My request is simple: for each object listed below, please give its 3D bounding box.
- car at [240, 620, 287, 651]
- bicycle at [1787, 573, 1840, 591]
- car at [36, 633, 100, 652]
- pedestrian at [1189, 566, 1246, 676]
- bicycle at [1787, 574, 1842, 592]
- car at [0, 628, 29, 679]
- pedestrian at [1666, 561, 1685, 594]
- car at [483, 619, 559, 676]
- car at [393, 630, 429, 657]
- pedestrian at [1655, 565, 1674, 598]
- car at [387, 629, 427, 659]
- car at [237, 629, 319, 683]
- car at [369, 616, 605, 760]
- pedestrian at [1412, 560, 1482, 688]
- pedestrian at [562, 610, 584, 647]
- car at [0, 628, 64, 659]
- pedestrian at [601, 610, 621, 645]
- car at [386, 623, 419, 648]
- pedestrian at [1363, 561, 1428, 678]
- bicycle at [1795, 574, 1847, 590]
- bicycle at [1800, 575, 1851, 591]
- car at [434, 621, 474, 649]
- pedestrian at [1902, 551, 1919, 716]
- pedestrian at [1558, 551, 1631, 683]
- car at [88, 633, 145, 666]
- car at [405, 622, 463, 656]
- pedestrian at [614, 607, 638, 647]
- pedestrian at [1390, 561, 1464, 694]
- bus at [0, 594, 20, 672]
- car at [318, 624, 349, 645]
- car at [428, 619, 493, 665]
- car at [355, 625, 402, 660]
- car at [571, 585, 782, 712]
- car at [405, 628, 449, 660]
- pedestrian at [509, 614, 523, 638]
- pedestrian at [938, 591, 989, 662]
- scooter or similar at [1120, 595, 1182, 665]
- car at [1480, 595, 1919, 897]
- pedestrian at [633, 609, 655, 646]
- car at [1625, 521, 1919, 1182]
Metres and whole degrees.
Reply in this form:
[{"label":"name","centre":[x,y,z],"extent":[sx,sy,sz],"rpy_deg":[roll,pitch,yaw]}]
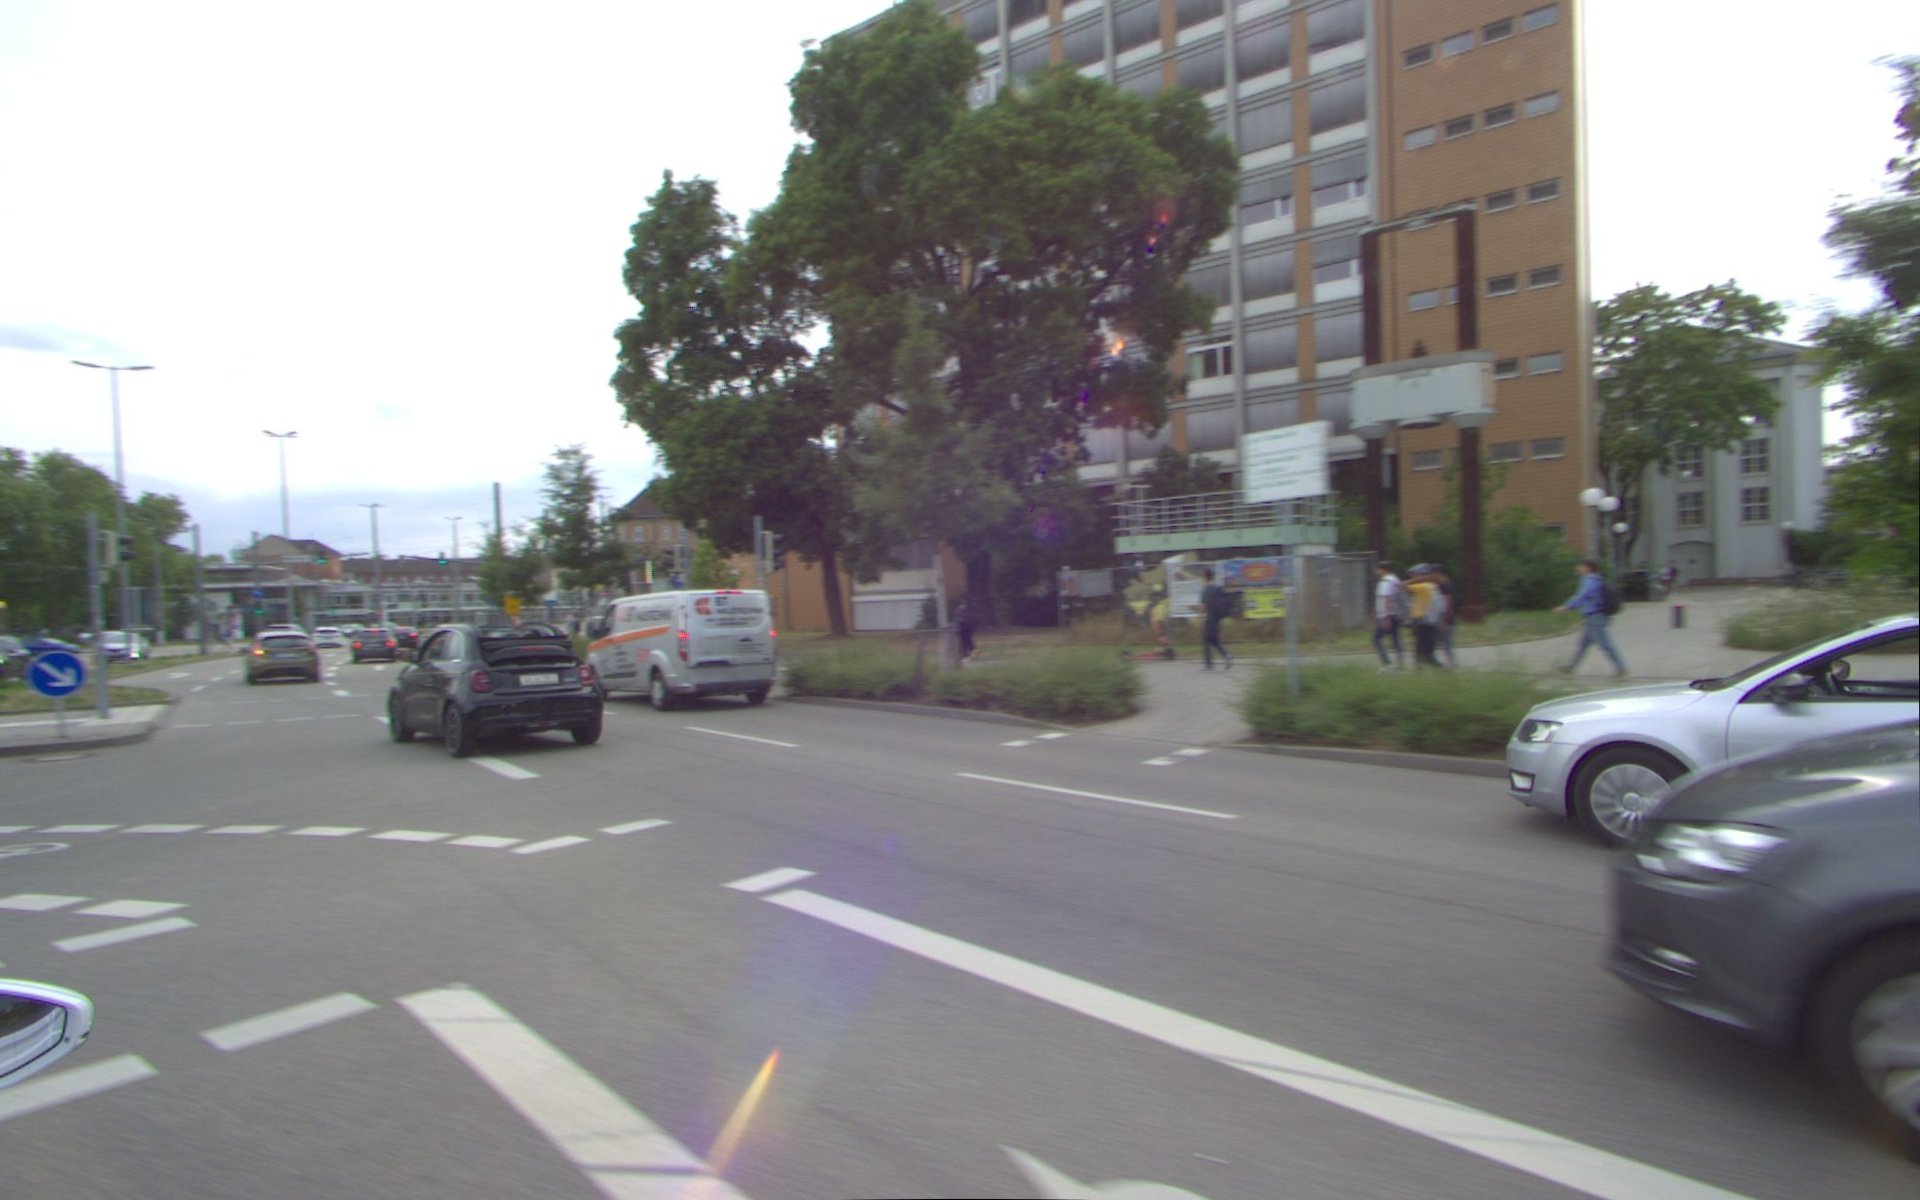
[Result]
[{"label":"car","centre":[-39.118,1.998,56.332],"extent":[1.814,1.635,3.530],"rpy_deg":[0,-2,-29]},{"label":"bicycle","centre":[39.773,-0.837,46.686],"extent":[0.645,0.703,1.829],"rpy_deg":[0,-2,-42]},{"label":"car","centre":[-64.996,3.092,73.004],"extent":[1.386,1.242,3.257],"rpy_deg":[-1,0,39]},{"label":"pedestrian","centre":[4.519,0.365,17.593],"extent":[0.700,1.877,0.634],"rpy_deg":[-2,1,43]},{"label":"bicycle","centre":[38.848,-0.752,45.554],"extent":[0.645,0.703,1.829],"rpy_deg":[0,-2,-42]},{"label":"car","centre":[-33.218,1.808,33.869],"extent":[1.975,1.672,4.481],"rpy_deg":[0,-2,-36]},{"label":"pedestrian","centre":[37.636,-1.185,52.656],"extent":[0.701,1.733,0.634],"rpy_deg":[-2,0,-42]},{"label":"car","centre":[-12.805,1.362,29.099],"extent":[1.647,1.527,3.617],"rpy_deg":[0,-2,-29]},{"label":"car","centre":[-30.861,2.439,56.245],"extent":[1.692,1.438,3.331],"rpy_deg":[0,-2,-30]},{"label":"pedestrian","centre":[37.814,-1.016,53.741],"extent":[0.701,1.733,0.634],"rpy_deg":[-2,0,-42]},{"label":"car","centre":[-28.349,2.246,51.307],"extent":[1.692,1.438,3.980],"rpy_deg":[0,-2,-30]},{"label":"car","centre":[-19.588,1.575,28.715],"extent":[1.681,1.422,3.672],"rpy_deg":[0,-2,-38]},{"label":"car","centre":[-5.978,1.003,12.489],"extent":[1.655,1.508,3.408],"rpy_deg":[-1,-1,-44]},{"label":"pedestrian","centre":[6.834,0.335,14.050],"extent":[0.700,1.733,0.634],"rpy_deg":[-2,-1,43]},{"label":"pedestrian","centre":[-17.235,1.249,44.613],"extent":[0.768,1.595,0.809],"rpy_deg":[-3,1,-24]},{"label":"car","centre":[-64.222,3.006,68.791],"extent":[3.924,2.039,2.000],"rpy_deg":[-1,-1,11]},{"label":"pedestrian","centre":[-16.901,1.324,48.474],"extent":[0.768,1.595,0.809],"rpy_deg":[-3,1,-24]},{"label":"car","centre":[-33.444,2.134,60.038],"extent":[1.692,1.438,3.980],"rpy_deg":[0,-2,-30]},{"label":"pedestrian","centre":[6.663,0.298,15.306],"extent":[0.700,1.733,0.634],"rpy_deg":[-2,0,43]},{"label":"bicycle","centre":[41.078,-0.848,47.802],"extent":[0.645,0.703,1.829],"rpy_deg":[0,-2,-42]},{"label":"bicycle","centre":[42.378,-0.834,49.048],"extent":[0.645,0.703,1.829],"rpy_deg":[0,-2,-42]},{"label":"car","centre":[-27.053,1.890,53.472],"extent":[1.685,1.438,3.682],"rpy_deg":[0,-2,-30]},{"label":"pedestrian","centre":[9.650,0.299,9.647],"extent":[0.791,1.564,0.832],"rpy_deg":[-2,3,43]},{"label":"pedestrian","centre":[8.692,0.228,13.709],"extent":[0.700,1.734,0.634],"rpy_deg":[-2,2,43]},{"label":"car","centre":[-45.033,2.613,53.541],"extent":[1.975,1.672,4.481],"rpy_deg":[0,-2,-36]},{"label":"car","centre":[-23.150,1.710,44.044],"extent":[2.109,1.438,3.682],"rpy_deg":[0,-2,-30]},{"label":"pedestrian","centre":[-13.709,1.111,41.115],"extent":[0.768,1.595,0.809],"rpy_deg":[-3,1,-24]},{"label":"pedestrian","centre":[6.313,0.361,13.527],"extent":[0.700,1.734,0.634],"rpy_deg":[-2,1,43]},{"label":"bus","centre":[-40.899,1.311,39.950],"extent":[3.117,3.296,12.334],"rpy_deg":[0,-2,-35]},{"label":"car","centre":[-44.414,2.457,71.039],"extent":[1.692,1.438,3.980],"rpy_deg":[0,-2,-30]},{"label":"car","centre":[-18.310,1.528,36.873],"extent":[1.833,1.552,3.991],"rpy_deg":[0,-2,-22]},{"label":"car","centre":[-25.385,1.838,43.815],"extent":[1.691,1.438,3.981],"rpy_deg":[0,-2,-29]},{"label":"car","centre":[-5.328,0.852,18.285],"extent":[1.805,1.984,5.164],"rpy_deg":[0,-2,-39]},{"label":"car","centre":[-25.278,2.078,47.459],"extent":[1.692,1.438,3.980],"rpy_deg":[0,-2,-30]},{"label":"pedestrian","centre":[-30.136,1.760,67.911],"extent":[0.768,1.595,0.809],"rpy_deg":[-3,1,-24]},{"label":"pedestrian","centre":[0.089,0.616,23.414],"extent":[0.803,1.595,0.773],"rpy_deg":[-2,2,43]},{"label":"scooter or similar","centre":[3.843,0.609,20.171],"extent":[1.131,1.388,0.397],"rpy_deg":[-2,-1,30]},{"label":"car","centre":[5.544,0.727,5.462],"extent":[4.482,1.493,1.809],"rpy_deg":[-3,-2,44]},{"label":"pedestrian","centre":[-14.405,1.247,45.621],"extent":[0.768,1.595,0.809],"rpy_deg":[-3,1,-24]},{"label":"car","centre":[4.217,0.590,1.913],"extent":[1.743,1.672,4.642],"rpy_deg":[0,-2,-44]}]
